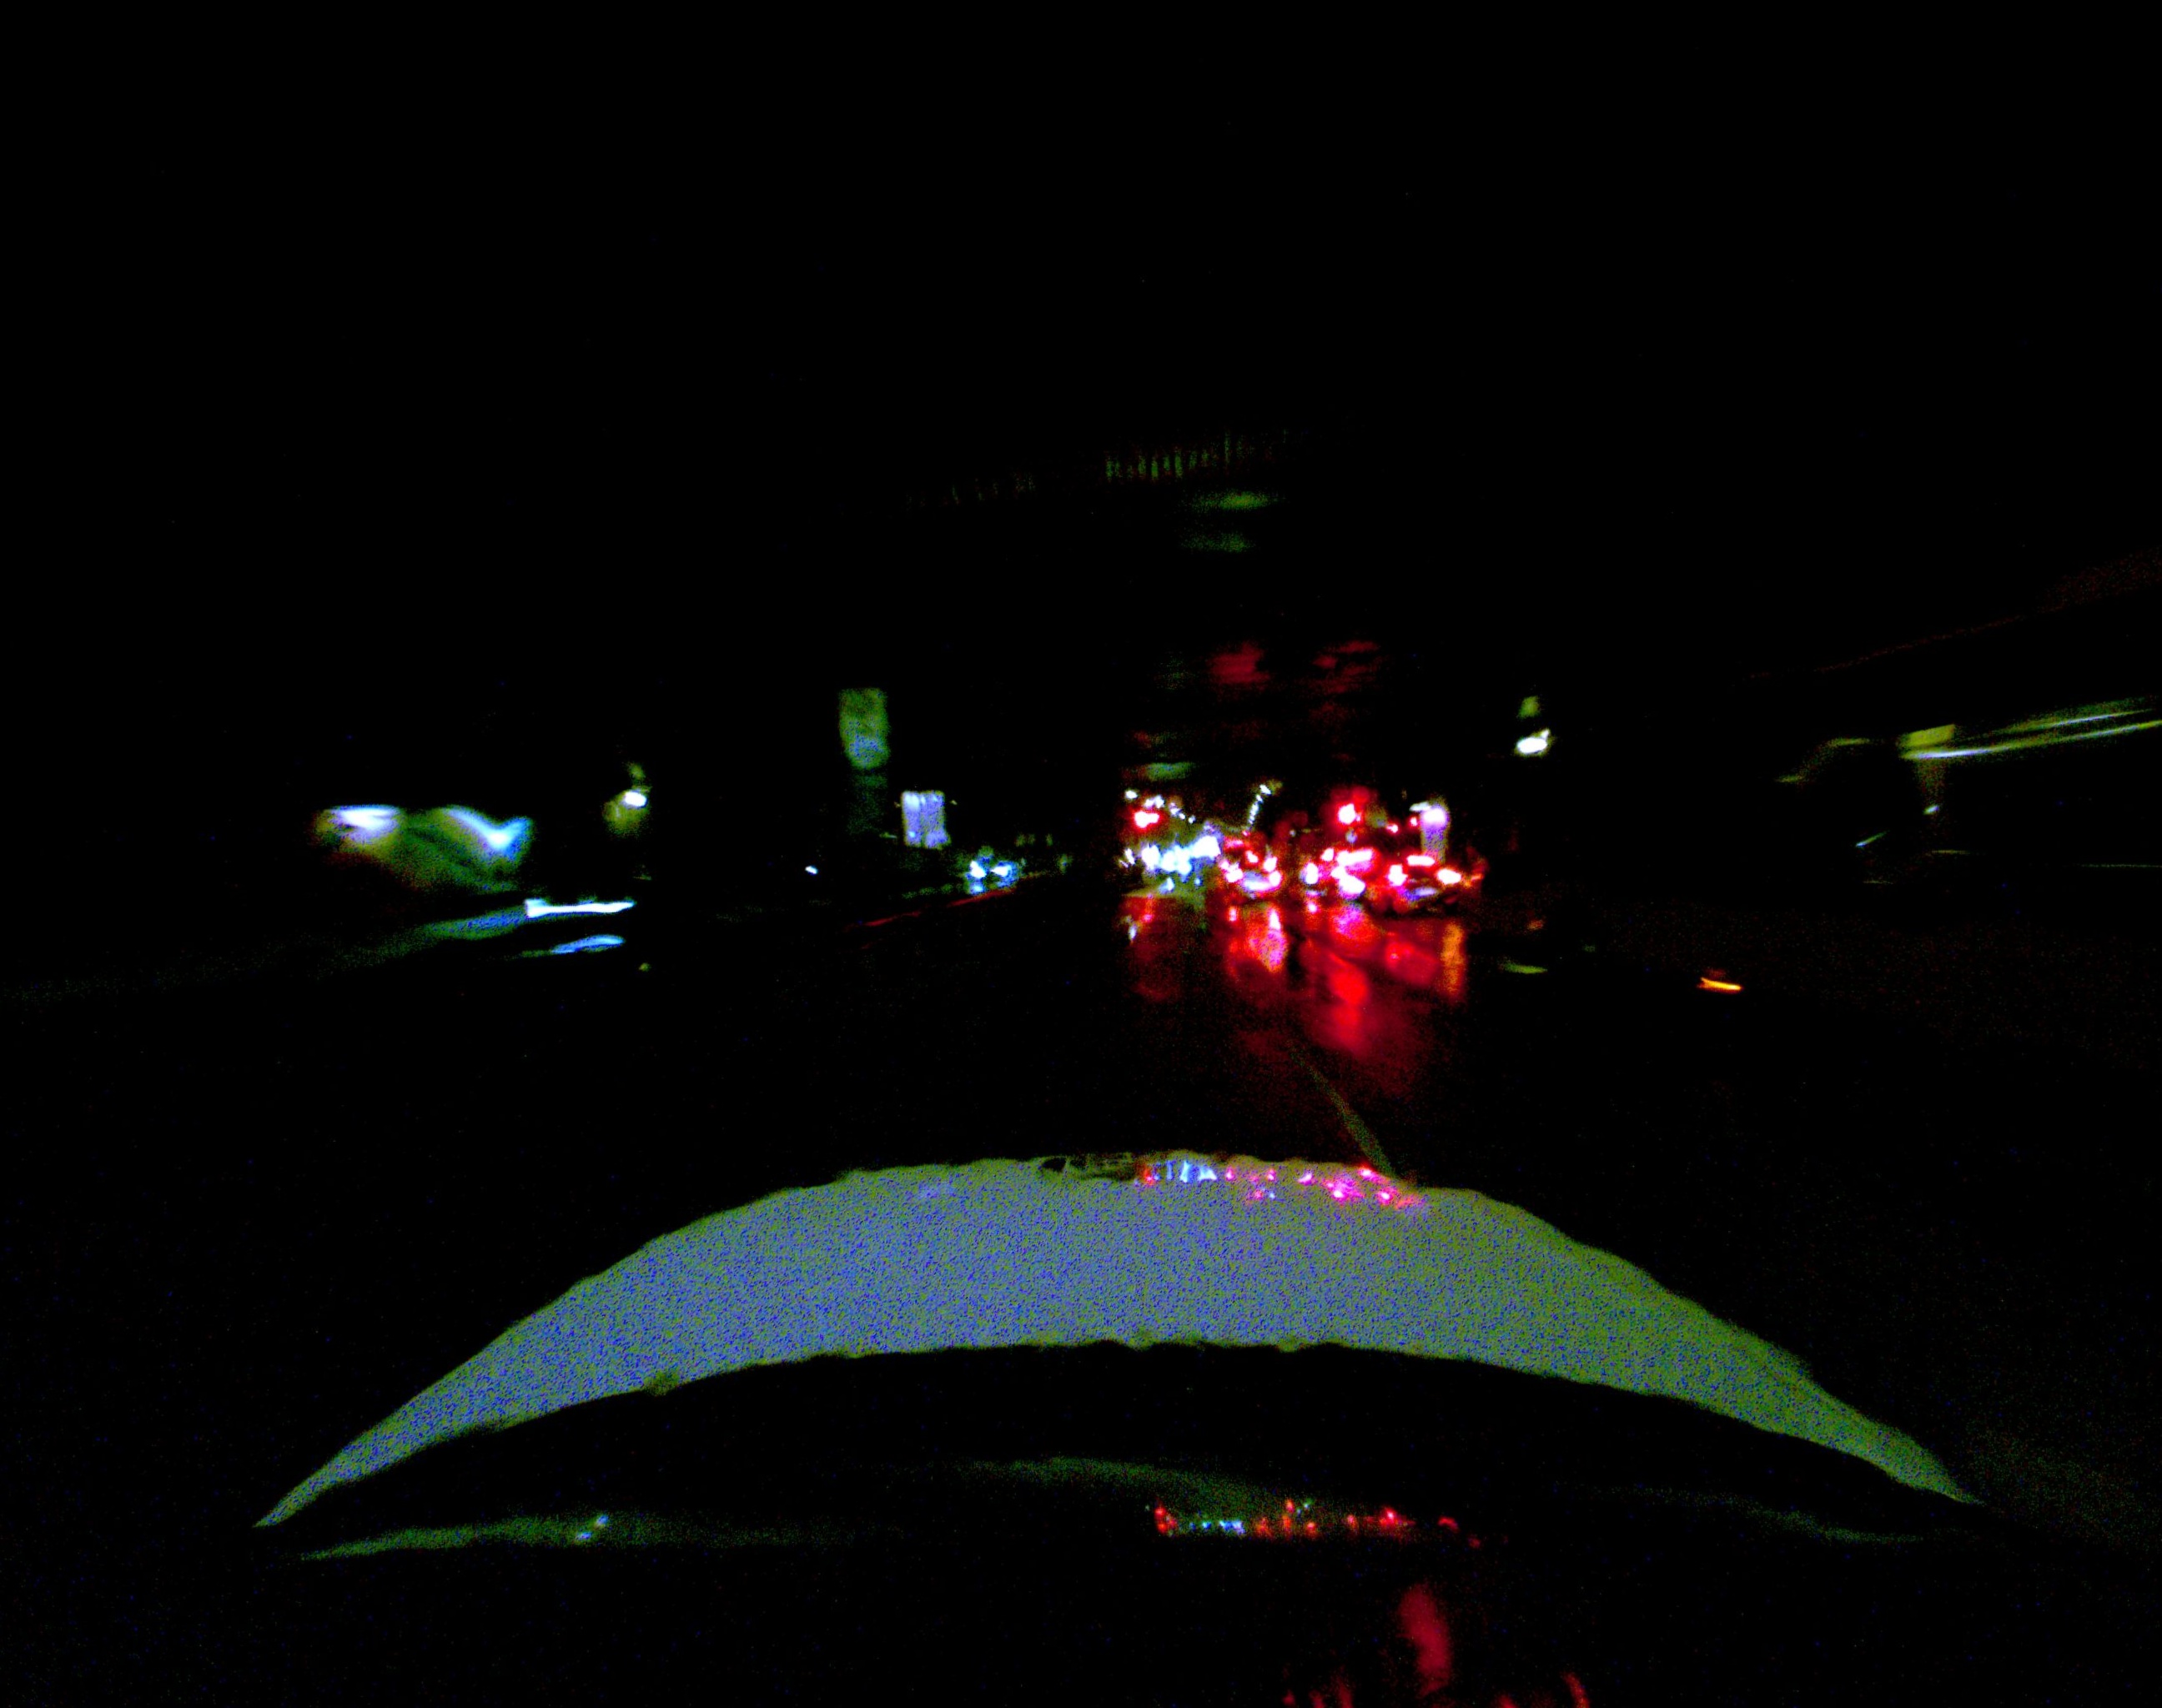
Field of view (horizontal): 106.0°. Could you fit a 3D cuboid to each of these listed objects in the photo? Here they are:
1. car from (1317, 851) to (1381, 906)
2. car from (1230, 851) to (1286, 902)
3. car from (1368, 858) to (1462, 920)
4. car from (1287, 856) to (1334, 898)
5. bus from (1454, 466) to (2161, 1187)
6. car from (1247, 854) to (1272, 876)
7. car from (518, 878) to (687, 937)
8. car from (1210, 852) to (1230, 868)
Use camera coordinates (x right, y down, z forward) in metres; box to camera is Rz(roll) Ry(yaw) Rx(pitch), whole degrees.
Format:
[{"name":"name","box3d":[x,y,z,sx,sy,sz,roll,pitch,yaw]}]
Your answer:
[{"name":"car","box3d":[8.997,0.777,27.555,1.775,1.684,4.016,-1,0,14]},{"name":"car","box3d":[6.328,0.773,28.827,1.775,1.684,4.015,-1,-1,14]},{"name":"car","box3d":[8.758,0.872,21.641,1.763,1.501,4.015,-1,-1,14]},{"name":"car","box3d":[9.705,0.939,34.648,1.775,1.684,4.015,-1,-1,14]},{"name":"bus","box3d":[6.569,-0.126,7.095,3.030,3.212,9.059,0,0,4]},{"name":"car","box3d":[14.495,0.865,65.937,1.775,1.684,4.015,-1,-1,14]},{"name":"car","box3d":[-12.107,1.302,20.955,1.848,1.288,4.131,-1,-1,1]},{"name":"car","box3d":[14.442,0.634,84.507,1.775,1.684,4.015,-1,-1,14]}]
